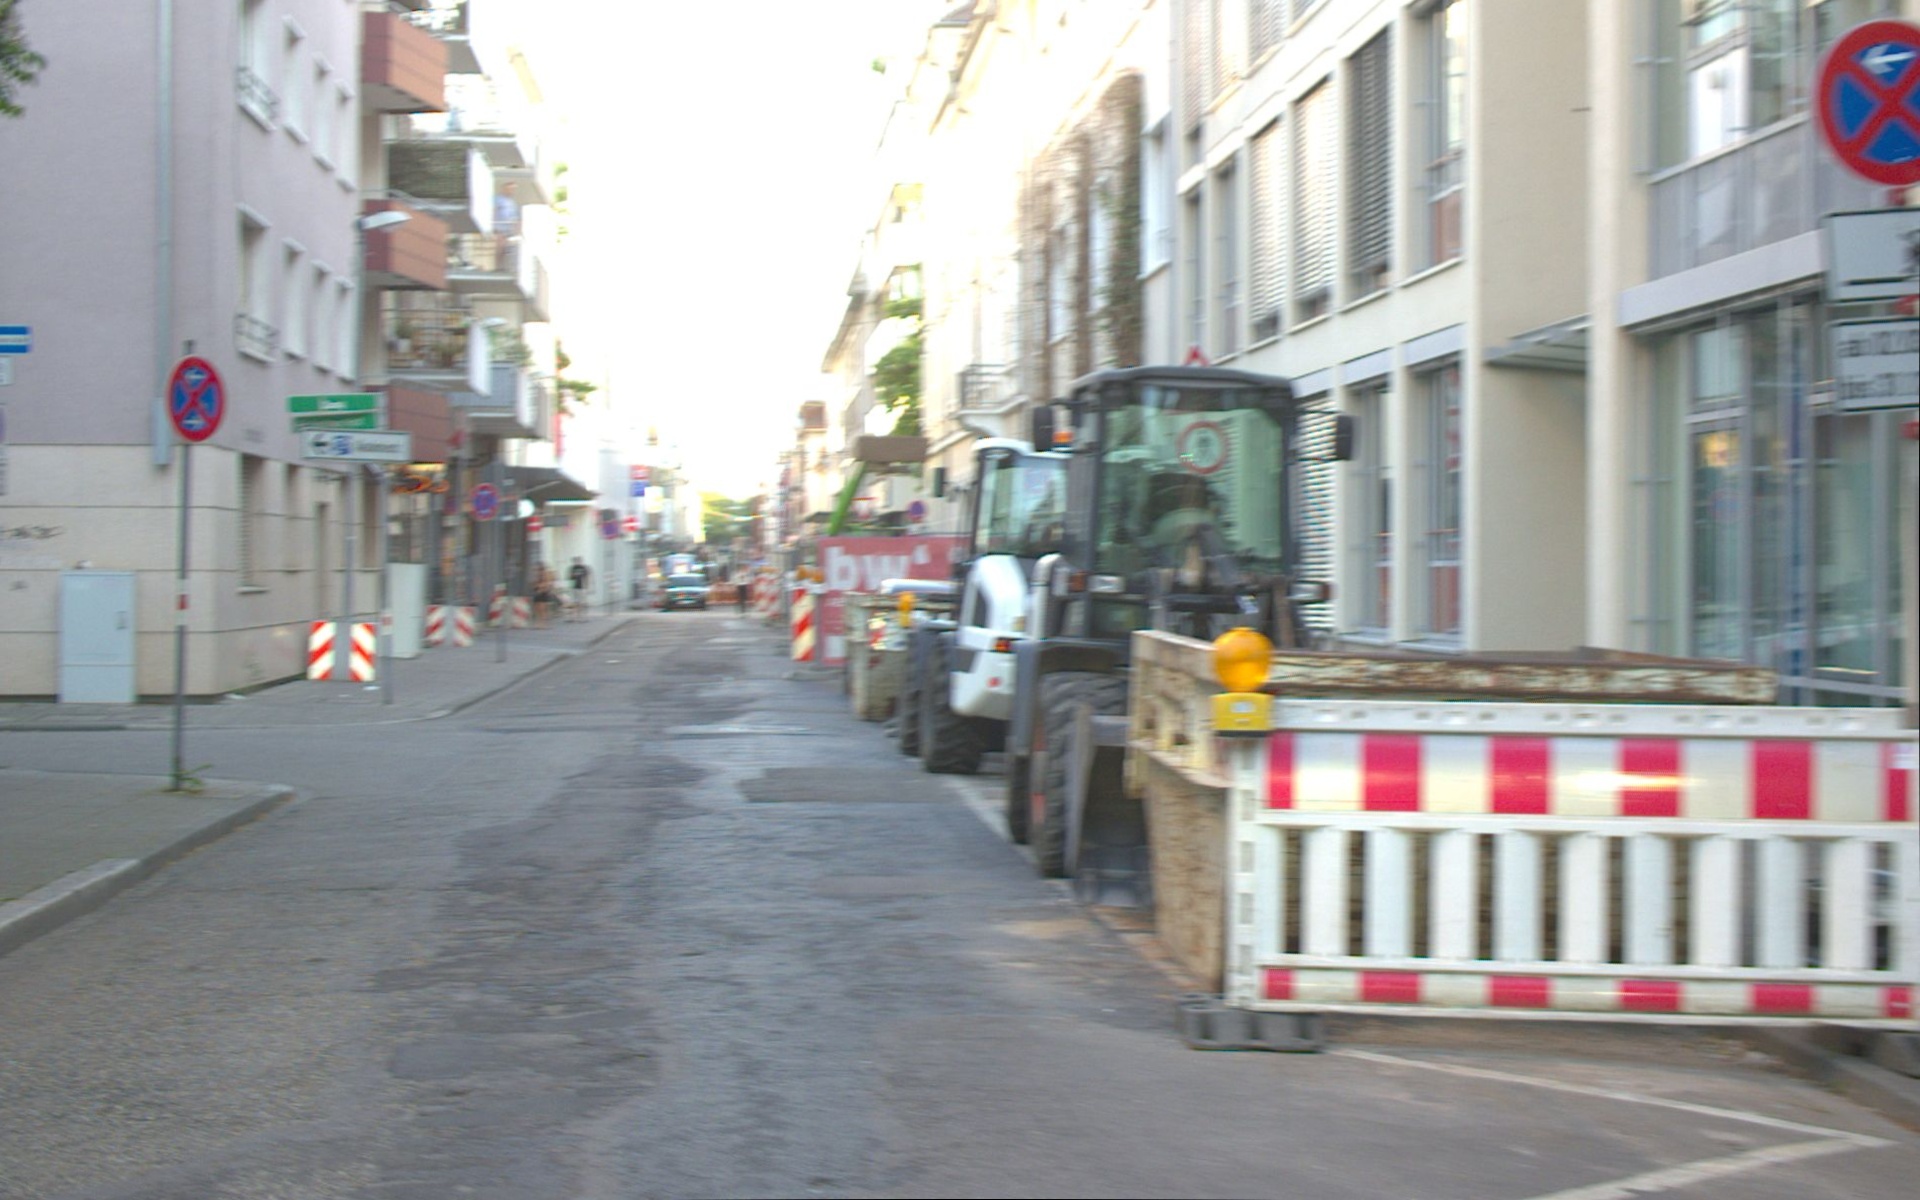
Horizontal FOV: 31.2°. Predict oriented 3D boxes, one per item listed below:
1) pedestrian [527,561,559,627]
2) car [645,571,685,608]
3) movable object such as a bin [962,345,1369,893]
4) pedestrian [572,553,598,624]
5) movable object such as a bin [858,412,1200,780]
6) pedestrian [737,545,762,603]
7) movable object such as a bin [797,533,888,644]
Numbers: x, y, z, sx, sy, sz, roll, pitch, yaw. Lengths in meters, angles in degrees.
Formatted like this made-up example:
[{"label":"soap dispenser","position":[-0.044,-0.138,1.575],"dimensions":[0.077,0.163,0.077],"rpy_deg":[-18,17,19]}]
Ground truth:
[{"label":"pedestrian","position":[-10.031,-0.142,82.638],"dimensions":[0.645,1.559,0.631],"rpy_deg":[0,1,-19]},{"label":"car","position":[-11.306,-0.399,131.819],"dimensions":[1.474,1.393,3.332],"rpy_deg":[0,0,-4]},{"label":"movable object such as a bin","position":[0.990,0.078,18.564],"dimensions":[1.796,2.625,4.111],"rpy_deg":[0,0,-2]},{"label":"pedestrian","position":[-9.999,-0.313,91.590],"dimensions":[0.654,1.880,0.574],"rpy_deg":[0,1,-3]},{"label":"movable object such as a bin","position":[0.410,-0.042,27.159],"dimensions":[2.166,2.587,5.544],"rpy_deg":[1,0,-4]},{"label":"pedestrian","position":[-6.372,-0.785,103.840],"dimensions":[0.720,1.734,0.647],"rpy_deg":[0,0,-6]},{"label":"movable object such as a bin","position":[-3.480,-0.368,100.910],"dimensions":[2.470,3.120,4.298],"rpy_deg":[1,1,-4]}]
